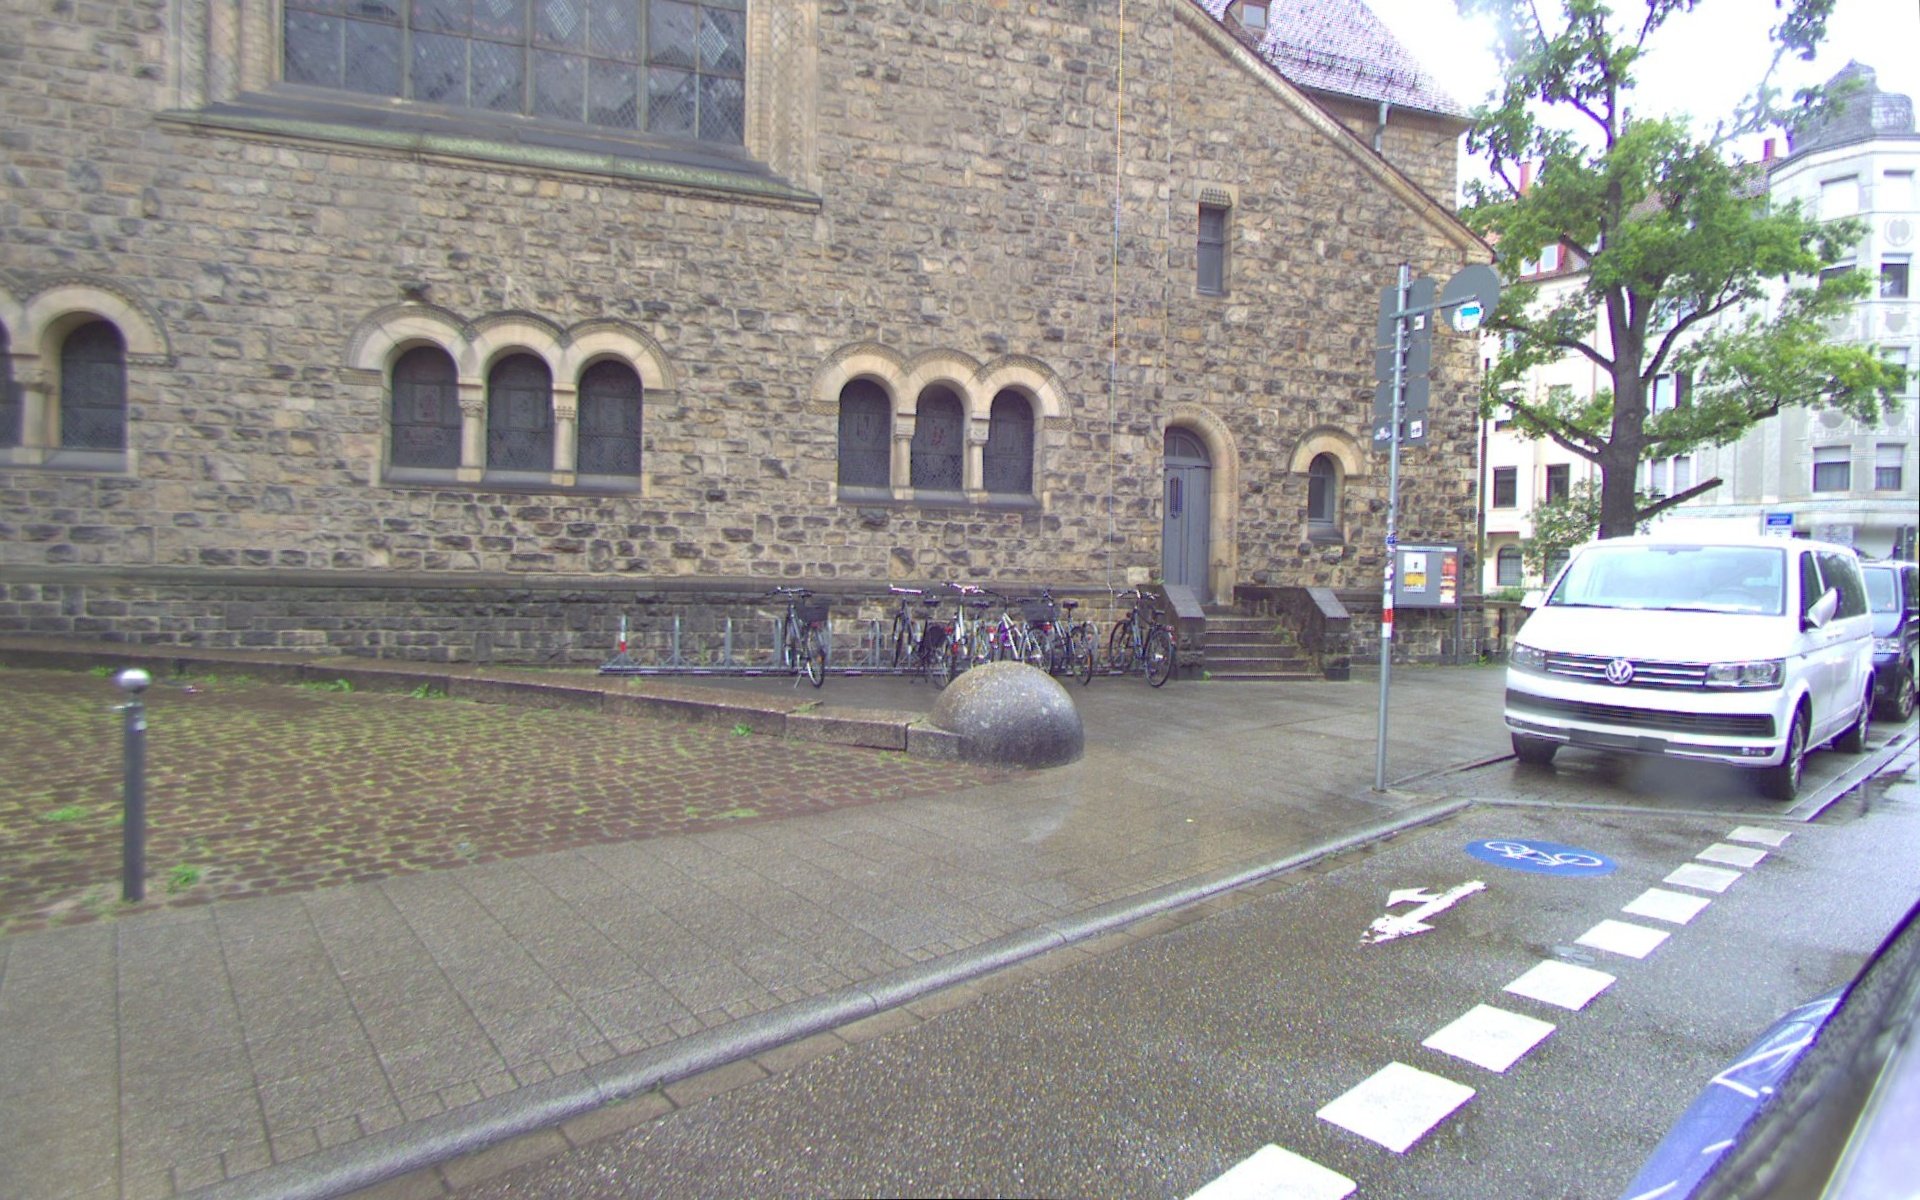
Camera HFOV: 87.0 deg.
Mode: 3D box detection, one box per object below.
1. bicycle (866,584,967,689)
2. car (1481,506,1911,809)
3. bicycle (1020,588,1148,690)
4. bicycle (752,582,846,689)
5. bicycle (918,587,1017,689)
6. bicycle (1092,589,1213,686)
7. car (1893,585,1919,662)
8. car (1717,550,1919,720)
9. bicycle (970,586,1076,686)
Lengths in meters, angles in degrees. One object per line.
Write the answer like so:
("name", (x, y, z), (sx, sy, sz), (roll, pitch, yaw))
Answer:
("bicycle", (-0.551, 0.382, 11.872), (0.569, 1.073, 1.933), (1, 2, -21))
("car", (6.699, 0.327, 8.931), (5.180, 1.946, 1.908), (0, 2, -41))
("bicycle", (1.467, 0.431, 12.447), (0.663, 1.073, 2.161), (1, 2, -19))
("bicycle", (-1.881, 0.358, 11.590), (0.564, 1.062, 2.014), (1, 2, -23))
("bicycle", (0.049, 0.406, 12.135), (0.569, 1.073, 1.933), (1, 2, -19))
("bicycle", (2.381, 0.429, 12.785), (0.593, 1.080, 1.987), (1, 2, -18))
("car", (21.396, 0.493, 21.647), (3.850, 1.568, 1.674), (0, 2, -41))
("car", (11.658, 0.351, 13.300), (4.220, 1.869, 1.836), (0, 2, -41))
("bicycle", (0.728, 0.396, 12.332), (0.569, 1.073, 1.933), (1, 2, -19))
